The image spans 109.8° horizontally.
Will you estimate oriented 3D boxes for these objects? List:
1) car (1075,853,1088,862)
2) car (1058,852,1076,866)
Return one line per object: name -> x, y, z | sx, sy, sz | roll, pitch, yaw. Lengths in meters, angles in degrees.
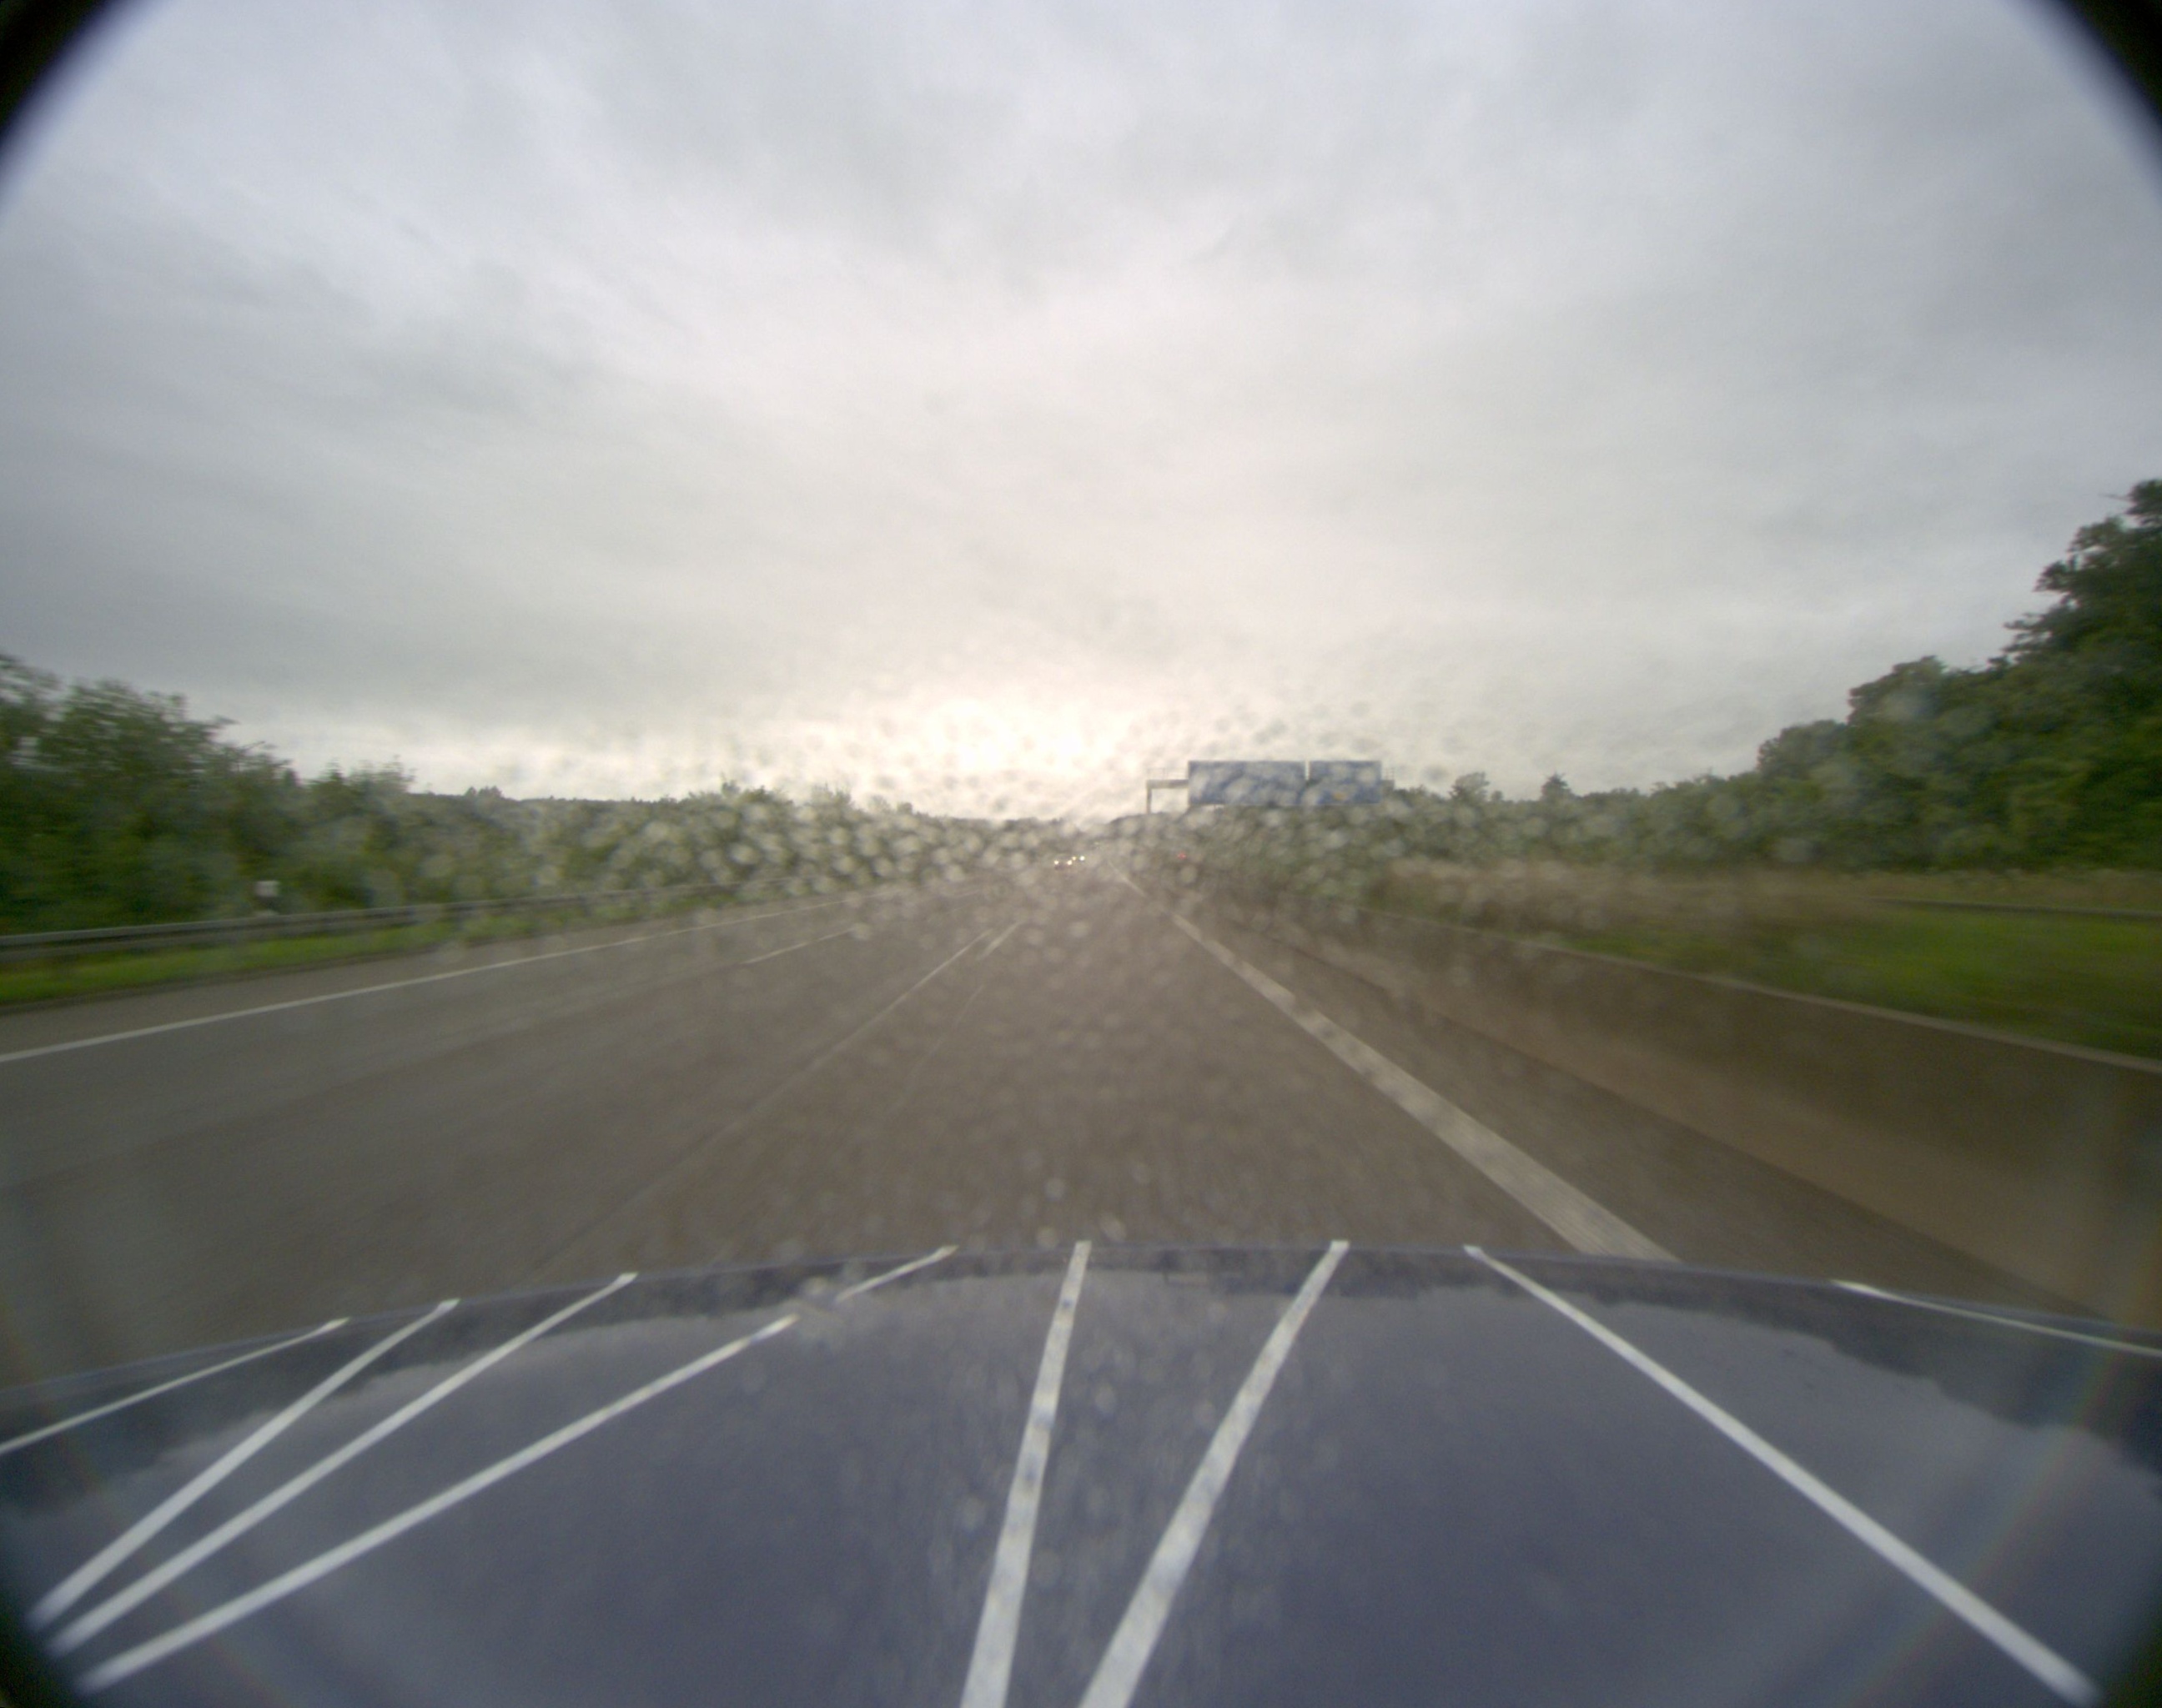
car -> 0.059, 0.640, 138.475 | 2.008, 1.456, 4.001 | 1, 1, 5
car -> -1.504, 0.571, 83.390 | 1.932, 1.521, 4.297 | 0, 0, 0
